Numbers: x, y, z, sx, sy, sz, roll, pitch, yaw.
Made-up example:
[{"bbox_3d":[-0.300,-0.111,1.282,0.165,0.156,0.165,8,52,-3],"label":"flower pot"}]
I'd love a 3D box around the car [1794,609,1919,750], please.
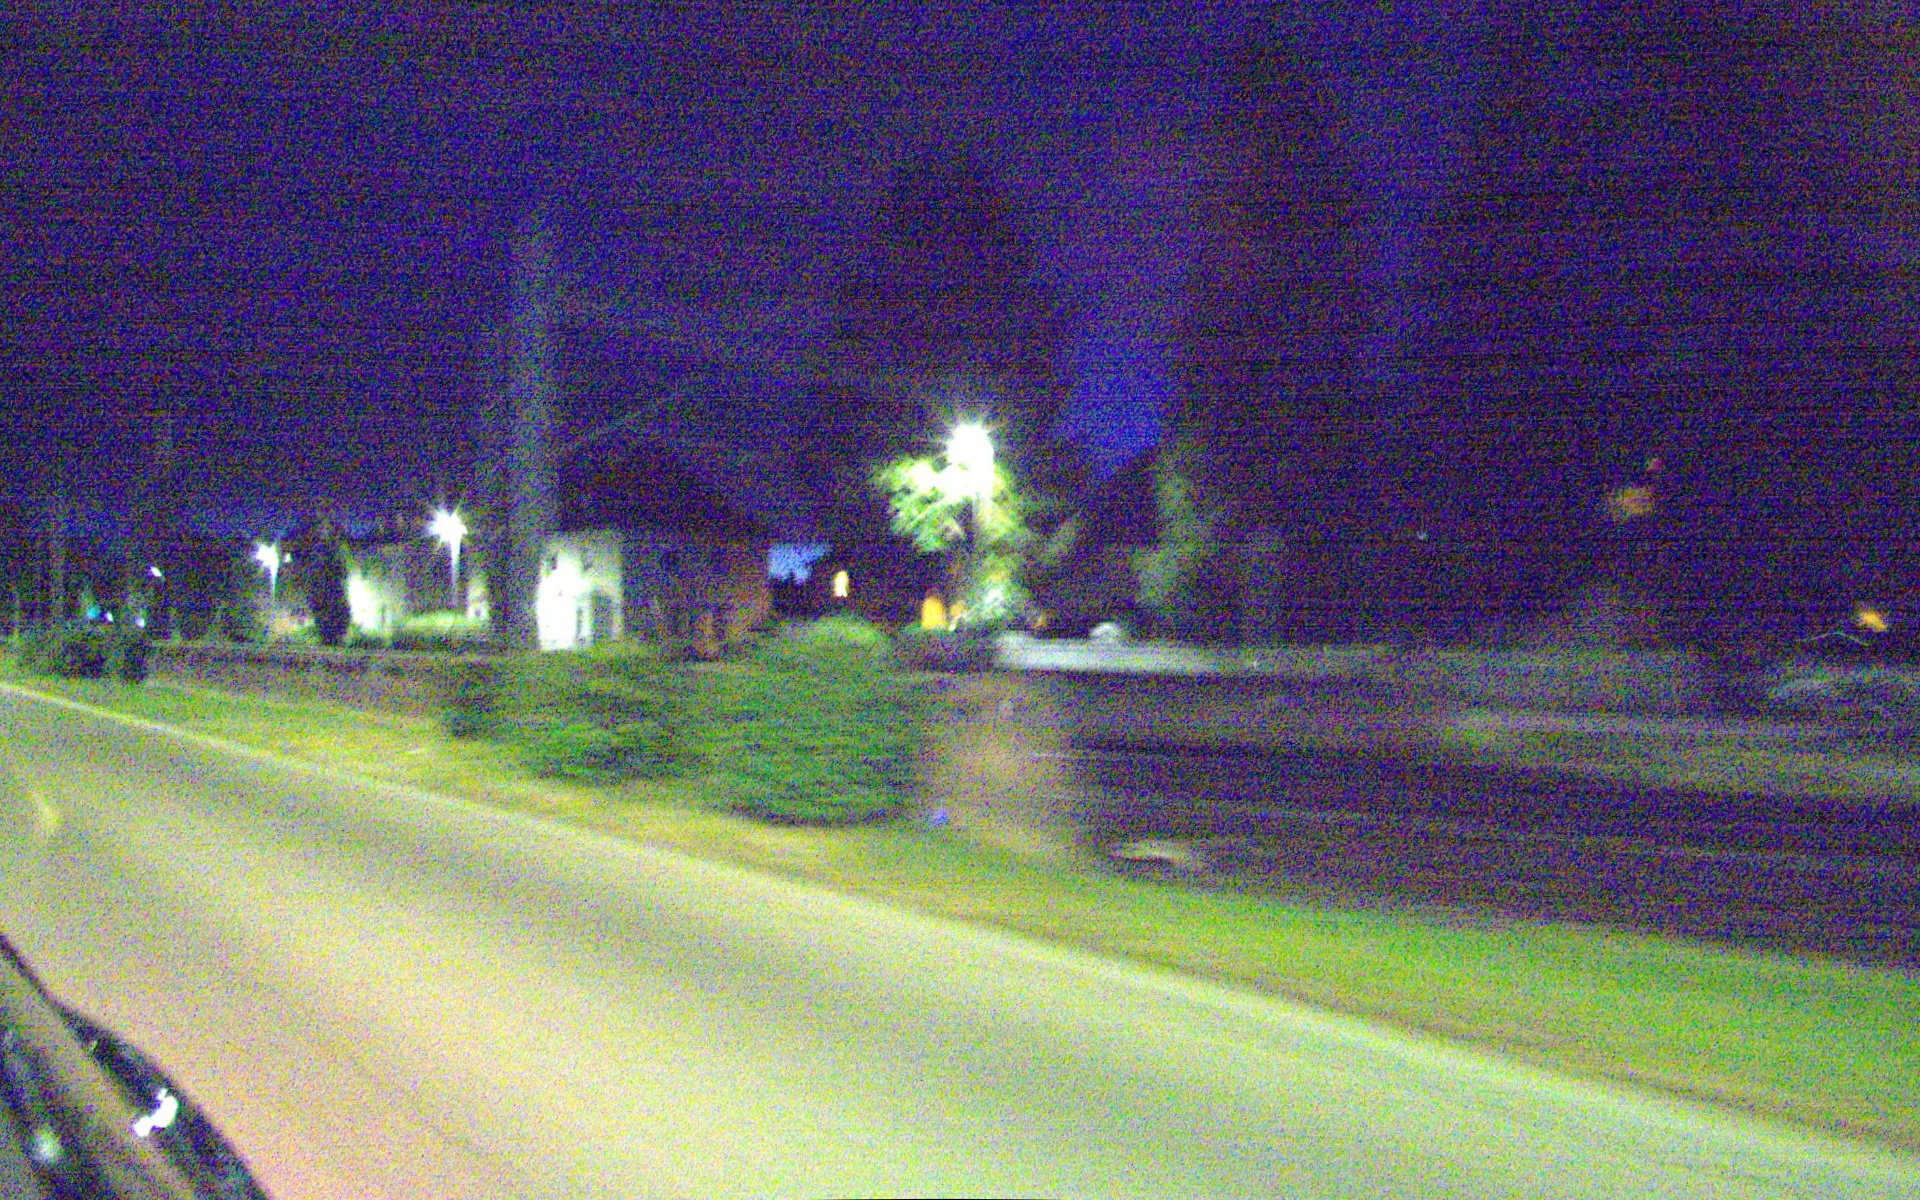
[{"bbox_3d":[11.699,0.859,10.932,4.090,1.516,1.847,-1,-2,39],"label":"car"}]
